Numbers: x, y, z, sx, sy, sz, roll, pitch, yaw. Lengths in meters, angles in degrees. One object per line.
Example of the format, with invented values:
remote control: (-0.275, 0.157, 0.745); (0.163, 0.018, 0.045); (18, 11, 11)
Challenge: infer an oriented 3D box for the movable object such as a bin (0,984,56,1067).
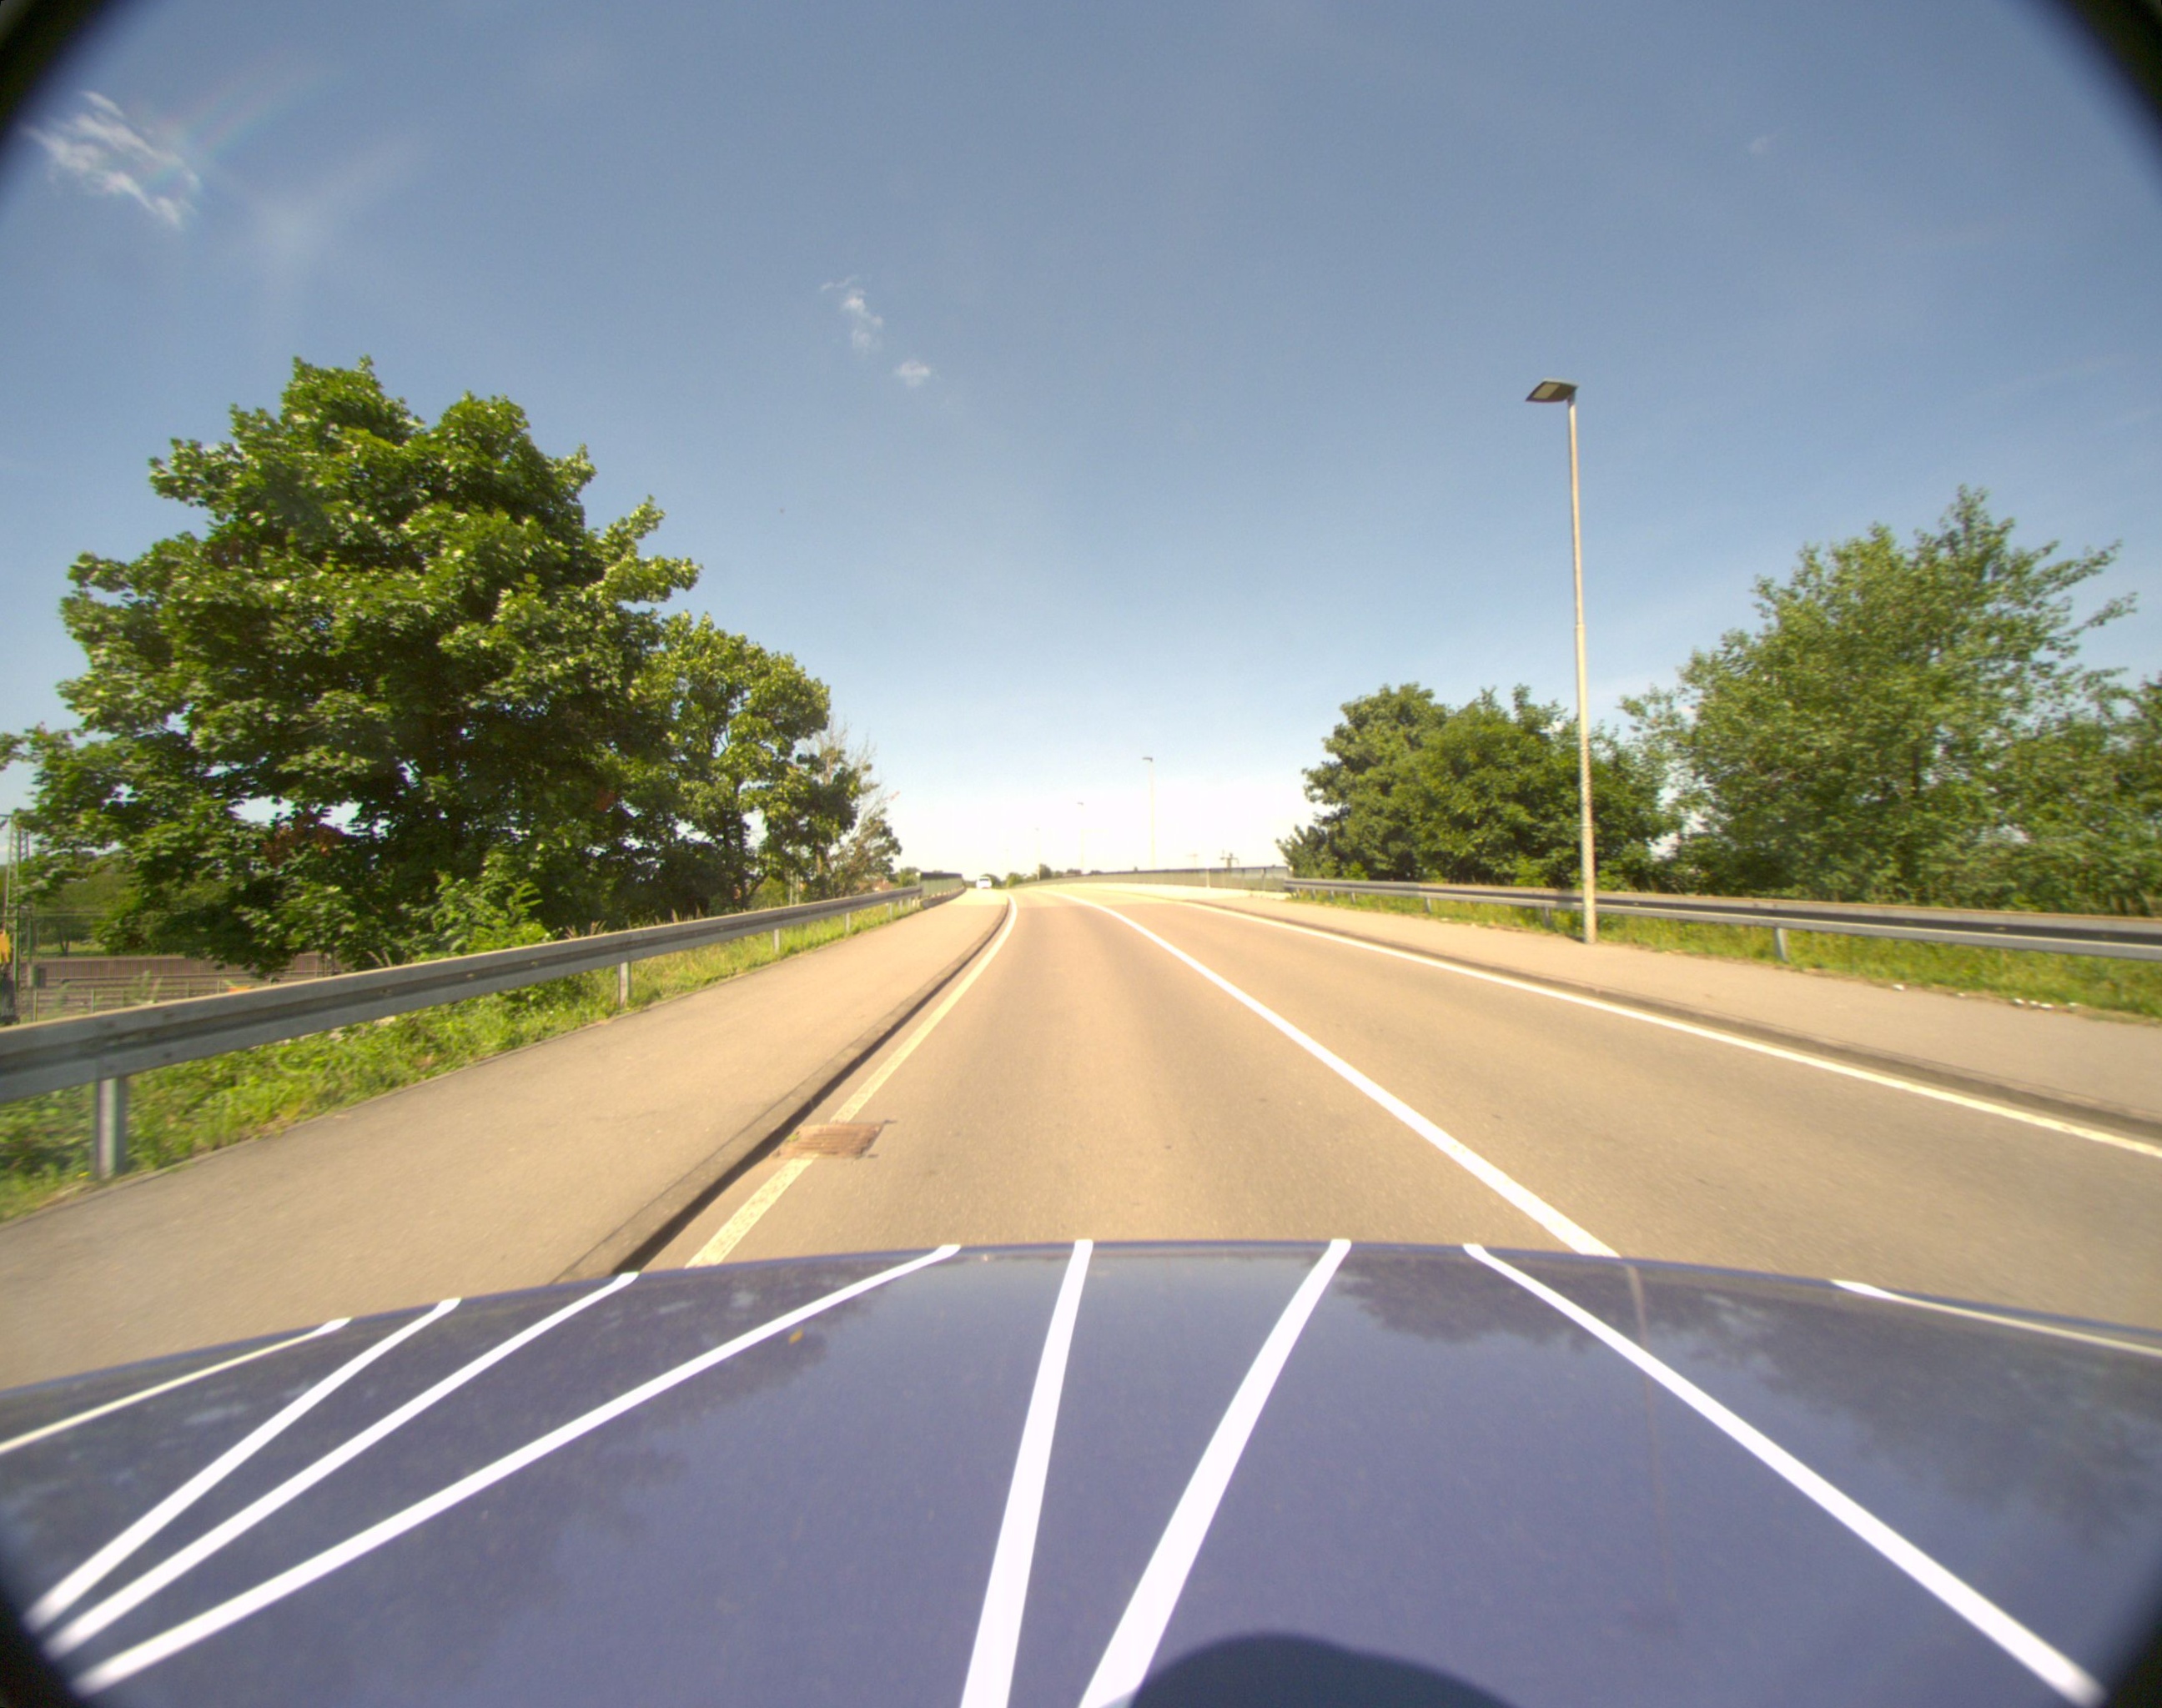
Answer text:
movable object such as a bin: (-49.830, 7.635, 33.652); (6.210, 3.269, 3.254); (-2, -3, 17)

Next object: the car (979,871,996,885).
car: (-12.624, 3.231, 102.586); (2.094, 1.750, 4.280); (-2, -1, -9)
